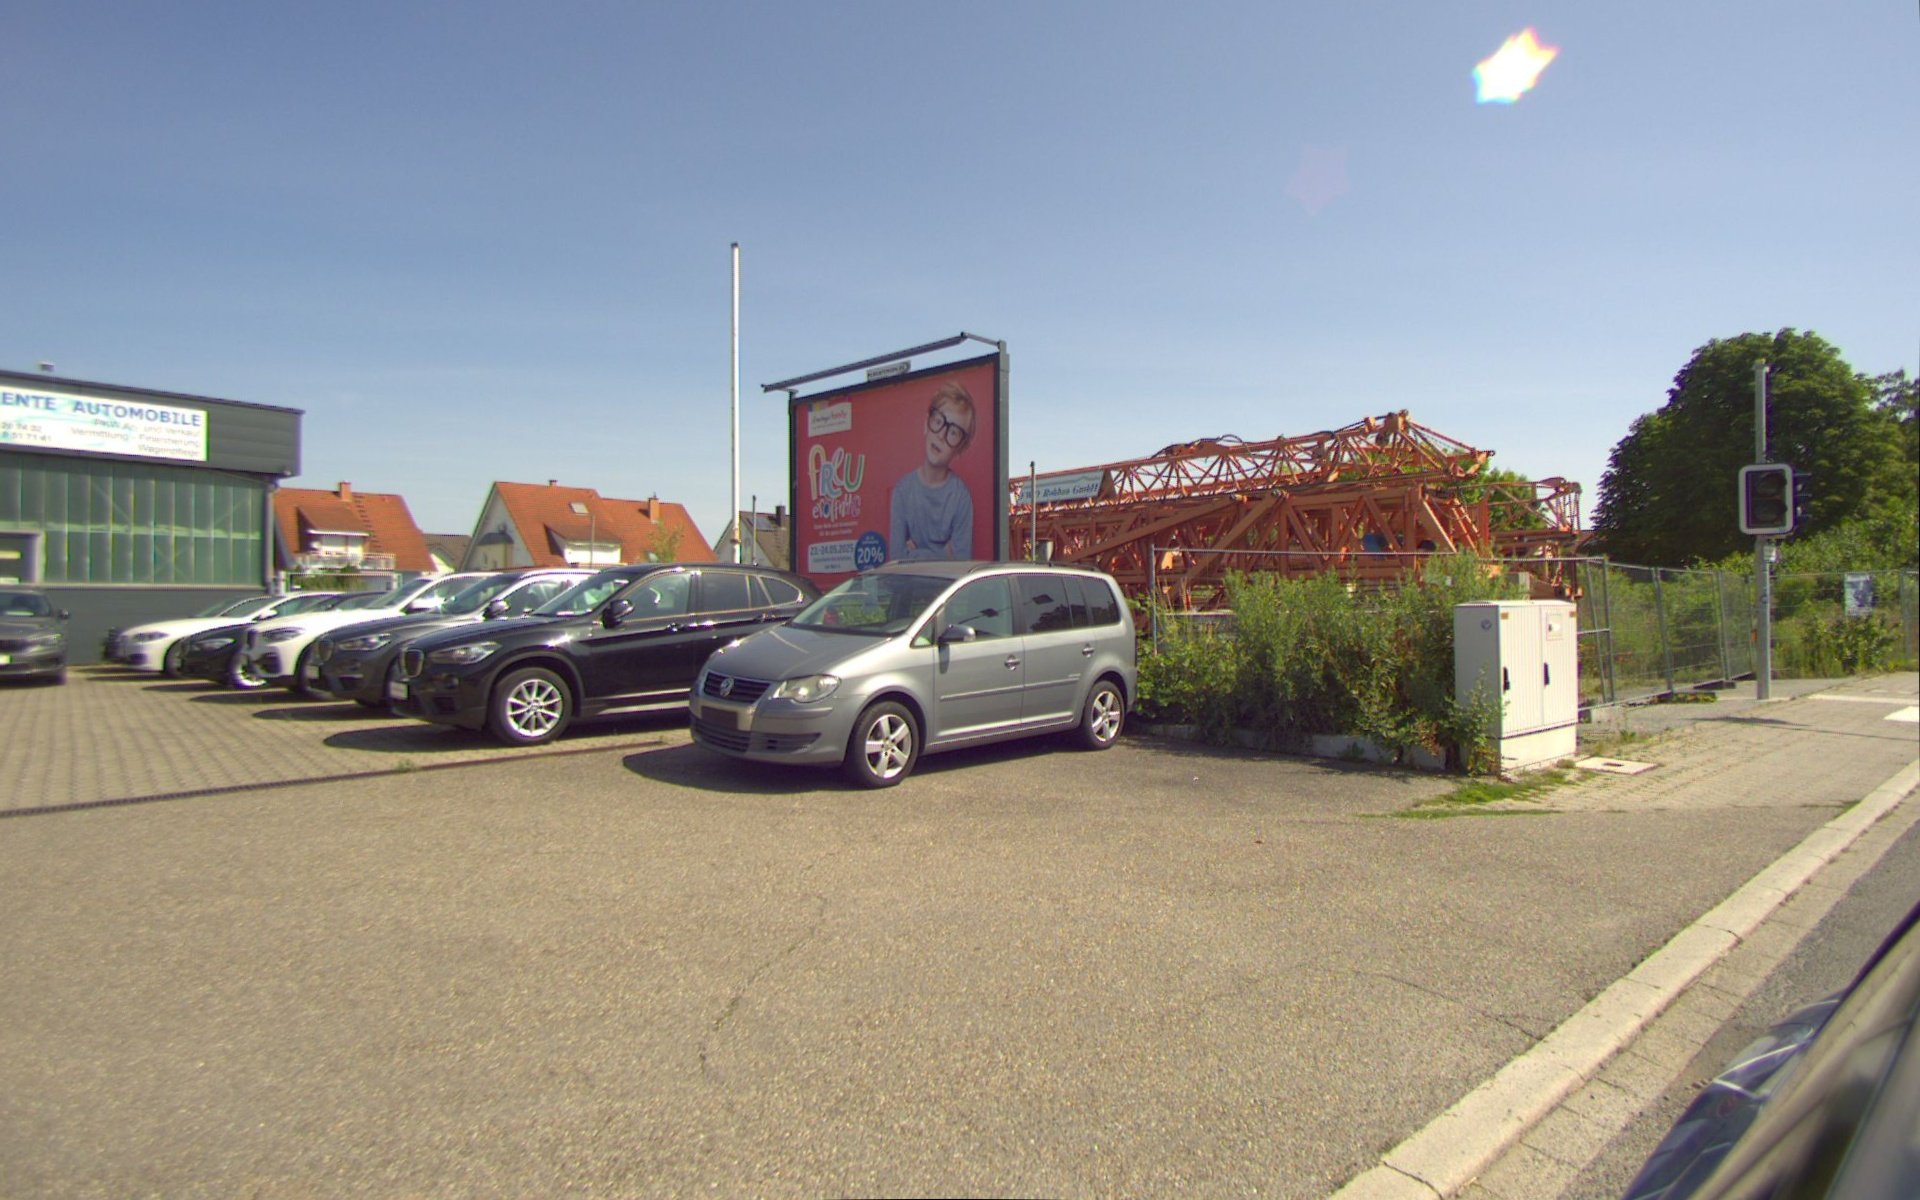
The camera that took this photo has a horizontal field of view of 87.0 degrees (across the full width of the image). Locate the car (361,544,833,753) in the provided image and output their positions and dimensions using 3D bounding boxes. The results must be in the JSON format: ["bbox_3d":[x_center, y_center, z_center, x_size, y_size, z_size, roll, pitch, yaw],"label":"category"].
[{"bbox_3d":[-3.378,0.340,9.951,1.968,1.612,3.940,1,1,41],"label":"car"}]

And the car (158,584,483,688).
[{"bbox_3d":[-9.812,0.455,15.744,1.840,1.404,3.940,1,1,41],"label":"car"}]

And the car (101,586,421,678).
[{"bbox_3d":[-12.027,0.460,17.637,1.840,1.404,4.311,1,1,41],"label":"car"}]

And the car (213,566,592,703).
[{"bbox_3d":[-7.657,0.372,14.220,1.997,1.612,4.273,1,1,41],"label":"car"}]

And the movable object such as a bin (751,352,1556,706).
[{"bbox_3d":[1.544,-0.924,18.513,2.726,4.069,16.072,0,0,-42],"label":"movable object such as a bin"}]

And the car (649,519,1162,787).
[{"bbox_3d":[-0.228,0.346,8.652,1.804,1.707,4.299,2,1,43],"label":"car"}]

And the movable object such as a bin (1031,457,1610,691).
[{"bbox_3d":[7.465,-0.554,24.143,2.814,4.218,13.270,0,0,-42],"label":"movable object such as a bin"}]

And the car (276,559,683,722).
[{"bbox_3d":[-5.585,0.368,12.135,1.840,1.612,4.044,1,1,41],"label":"car"}]

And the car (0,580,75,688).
[{"bbox_3d":[-14.662,0.443,15.210,3.678,1.492,1.783,1,1,44],"label":"car"}]
